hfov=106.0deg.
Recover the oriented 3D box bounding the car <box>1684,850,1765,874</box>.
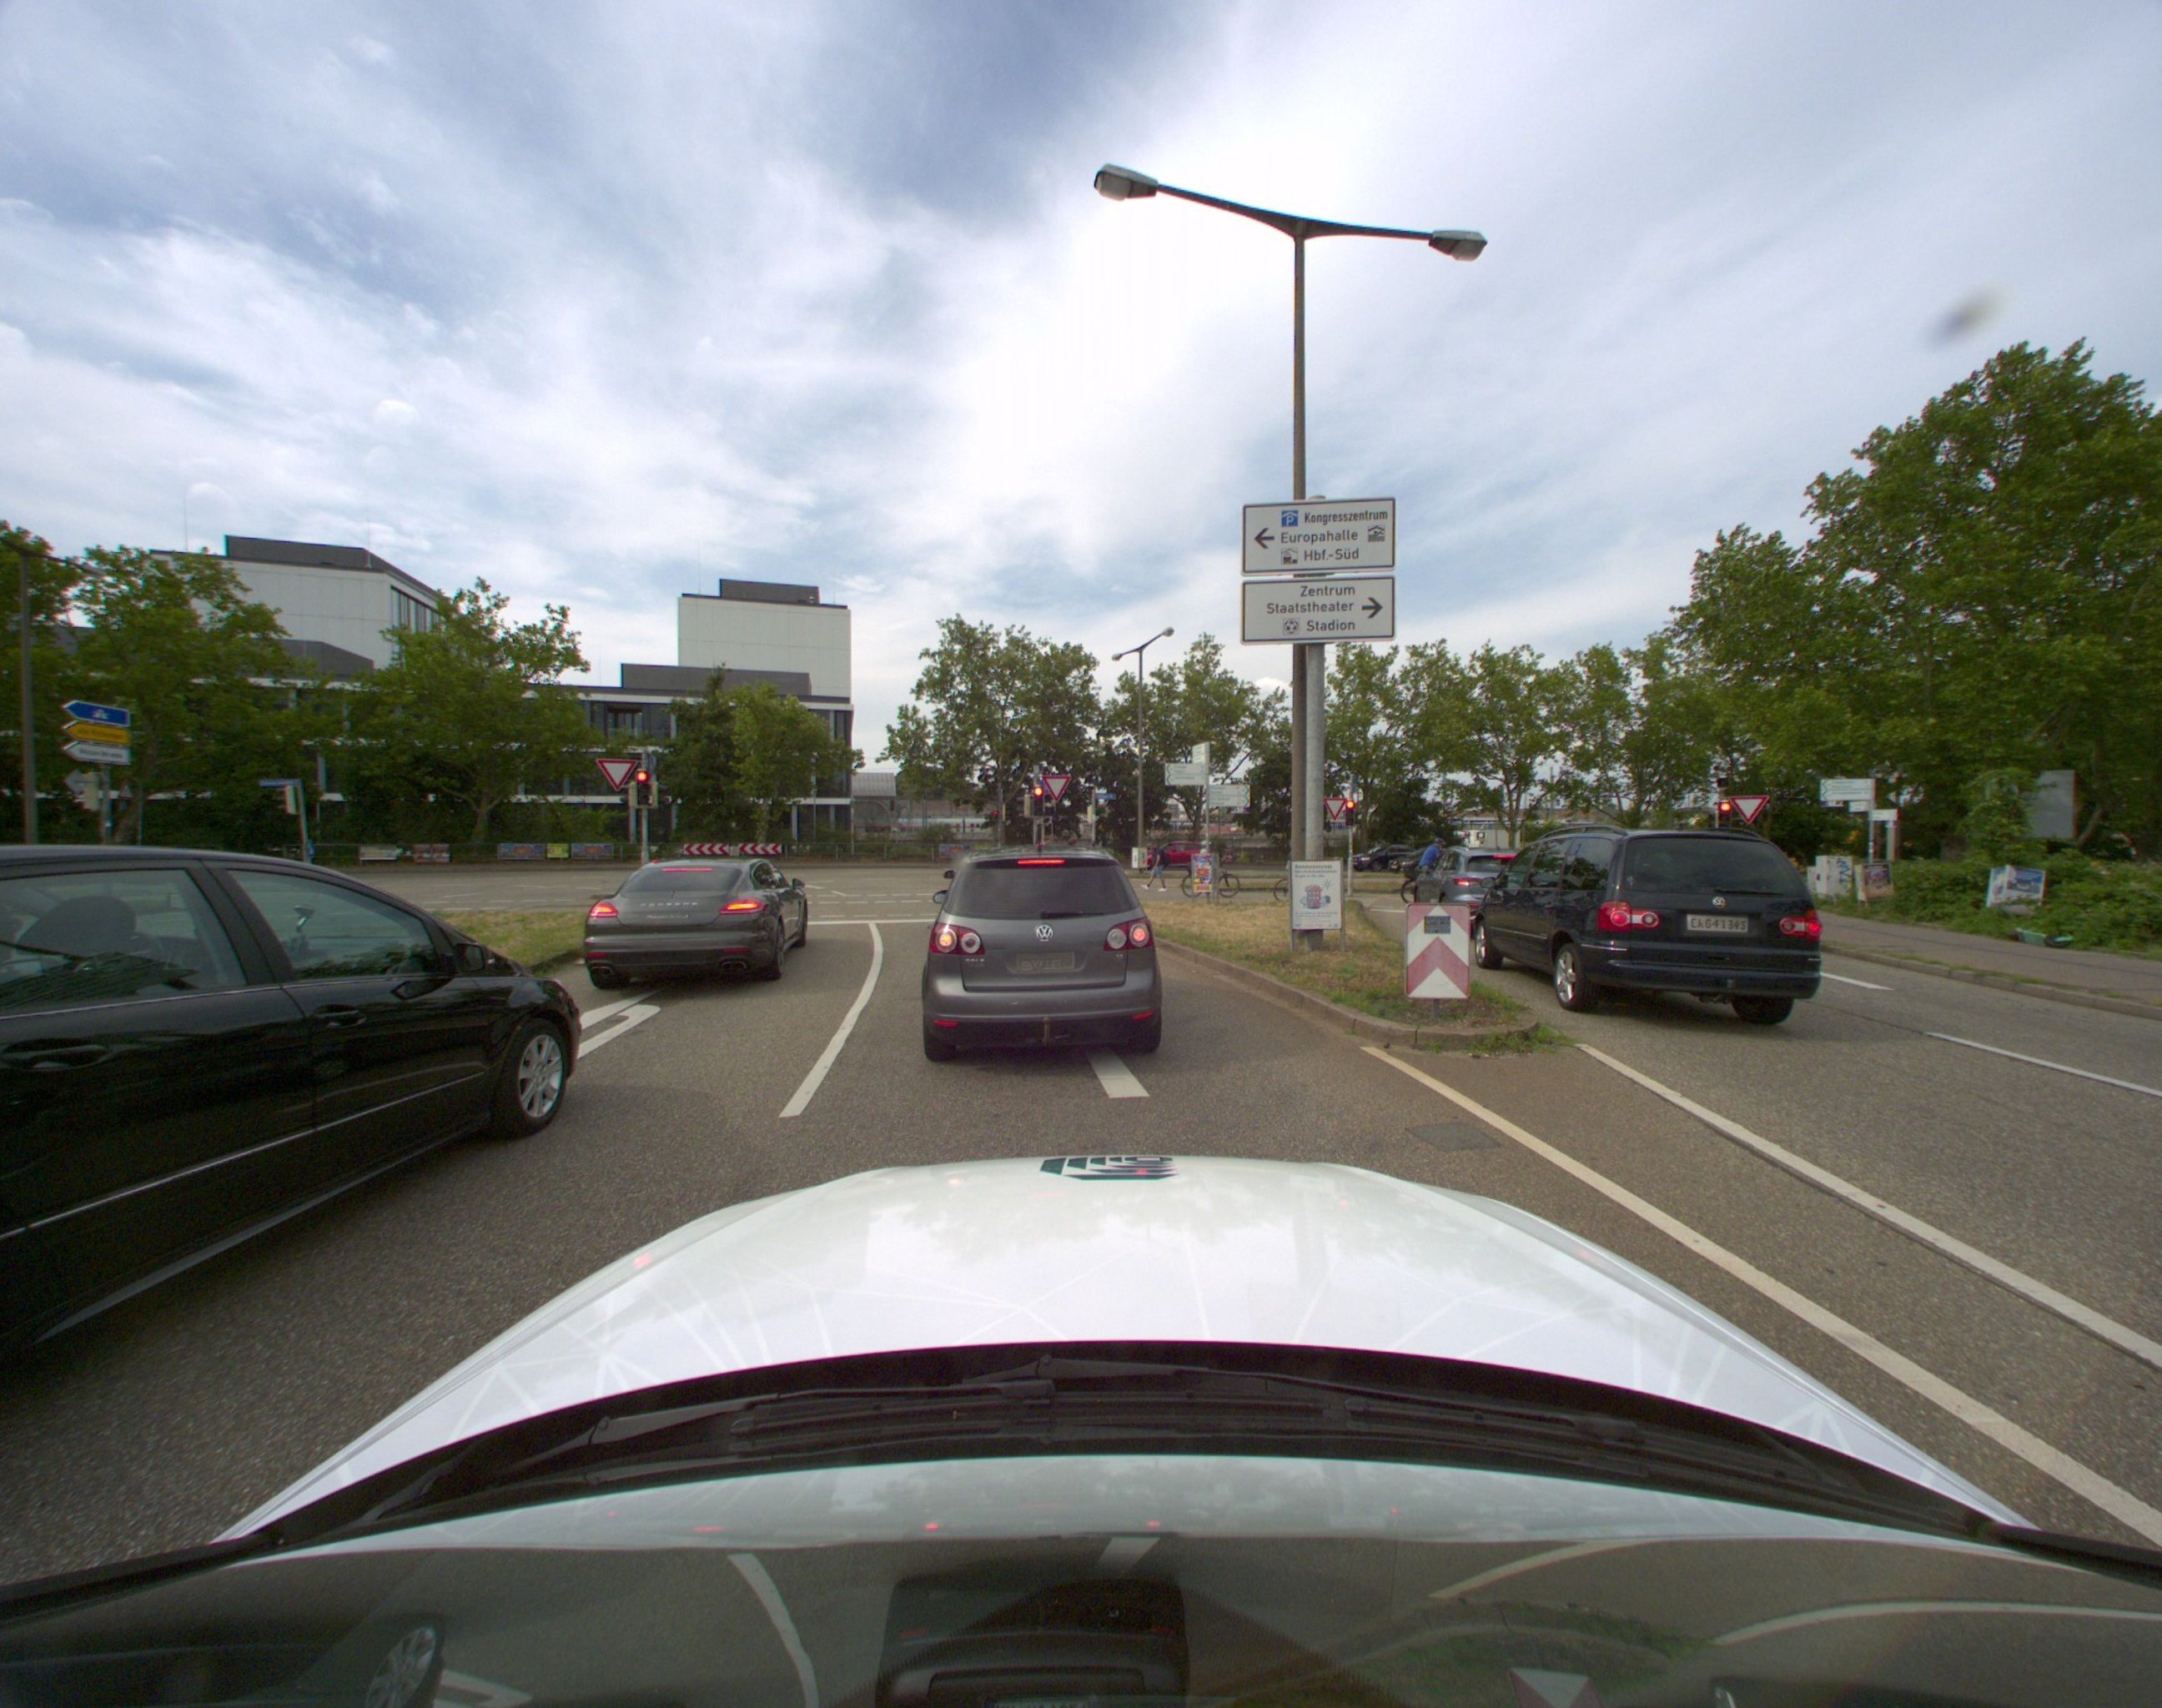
[{"bbox_3d":[39.852,0.473,50.436,4.336,1.448,1.752,-1,0,-15],"label":"car"}]

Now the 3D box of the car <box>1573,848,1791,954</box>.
[{"bbox_3d":[10.898,0.752,15.174,1.738,1.643,4.152,2,0,13],"label":"car"}]

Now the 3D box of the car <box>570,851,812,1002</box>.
[{"bbox_3d":[-4.622,0.696,10.433,1.821,1.414,4.754,0,1,-13],"label":"car"}]

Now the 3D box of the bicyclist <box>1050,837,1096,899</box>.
[{"bbox_3d":[-0.208,0.340,20.481,1.018,1.539,0.625,-1,1,-15],"label":"bicyclist"}]

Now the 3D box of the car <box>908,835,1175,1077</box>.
[{"bbox_3d":[-0.451,0.647,7.365,1.739,1.546,4.073,-1,0,-6],"label":"car"}]

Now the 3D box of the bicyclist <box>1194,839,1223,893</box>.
[{"bbox_3d":[3.791,0.342,24.288,0.777,1.581,0.655,0,1,0],"label":"bicyclist"}]

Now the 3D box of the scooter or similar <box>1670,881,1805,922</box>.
[{"bbox_3d":[15.399,1.081,19.191,0.810,0.849,2.366,0,-1,-25],"label":"scooter or similar"}]

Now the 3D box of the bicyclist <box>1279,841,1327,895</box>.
[{"bbox_3d":[6.155,0.379,22.620,1.114,1.436,0.645,-1,1,-12],"label":"bicyclist"}]

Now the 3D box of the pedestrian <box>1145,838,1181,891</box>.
[{"bbox_3d":[2.744,0.343,27.287,1.039,1.710,0.857,1,1,15],"label":"pedestrian"}]

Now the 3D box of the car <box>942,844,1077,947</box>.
[{"bbox_3d":[-1.384,0.599,14.110,1.743,1.482,4.063,-1,0,-14],"label":"car"}]

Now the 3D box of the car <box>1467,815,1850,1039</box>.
[{"bbox_3d":[5.584,0.573,8.604,1.739,1.724,4.151,2,0,11],"label":"car"}]

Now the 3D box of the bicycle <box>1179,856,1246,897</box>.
[{"bbox_3d":[3.913,0.664,24.291,1.895,1.210,0.643,0,1,-1],"label":"bicycle"}]

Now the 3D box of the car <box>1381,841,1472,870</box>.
[{"bbox_3d":[18.435,0.057,43.464,4.336,1.448,1.752,-1,0,-15],"label":"car"}]

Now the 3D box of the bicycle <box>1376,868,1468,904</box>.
[{"bbox_3d":[9.362,0.866,22.439,2.214,0.952,0.814,0,0,11],"label":"bicycle"}]

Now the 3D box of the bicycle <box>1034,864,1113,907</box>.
[{"bbox_3d":[-0.189,0.777,20.506,1.904,1.013,0.625,-1,1,-15],"label":"bicycle"}]

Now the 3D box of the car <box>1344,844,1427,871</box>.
[{"bbox_3d":[17.568,0.177,47.002,4.336,1.448,1.752,-1,0,-15],"label":"car"}]

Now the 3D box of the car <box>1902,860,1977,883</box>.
[{"bbox_3d":[59.476,1.208,56.437,4.336,1.448,1.752,-1,0,-15],"label":"car"}]

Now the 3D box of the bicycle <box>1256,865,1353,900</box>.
[{"bbox_3d":[6.227,0.789,22.655,2.585,0.890,0.702,-1,1,-13],"label":"bicycle"}]

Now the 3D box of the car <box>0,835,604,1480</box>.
[{"bbox_3d":[-3.642,0.728,2.966,1.755,1.575,4.028,0,1,-6],"label":"car"}]

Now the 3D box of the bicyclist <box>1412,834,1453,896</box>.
[{"bbox_3d":[9.652,0.294,22.388,0.875,1.656,0.814,0,0,11],"label":"bicyclist"}]

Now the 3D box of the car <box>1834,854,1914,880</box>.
[{"bbox_3d":[46.979,0.724,48.263,4.067,1.450,1.693,-1,0,-17],"label":"car"}]

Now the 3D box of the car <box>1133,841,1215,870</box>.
[{"bbox_3d":[4.925,0.079,43.119,3.963,1.448,1.692,-1,0,-19],"label":"car"}]

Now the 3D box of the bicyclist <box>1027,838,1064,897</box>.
[{"bbox_3d":[-0.950,0.338,21.543,0.840,1.529,0.625,-1,1,-17],"label":"bicyclist"}]

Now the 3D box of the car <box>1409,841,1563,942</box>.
[{"bbox_3d":[7.400,0.611,15.302,1.679,1.585,4.171,2,0,13],"label":"car"}]
